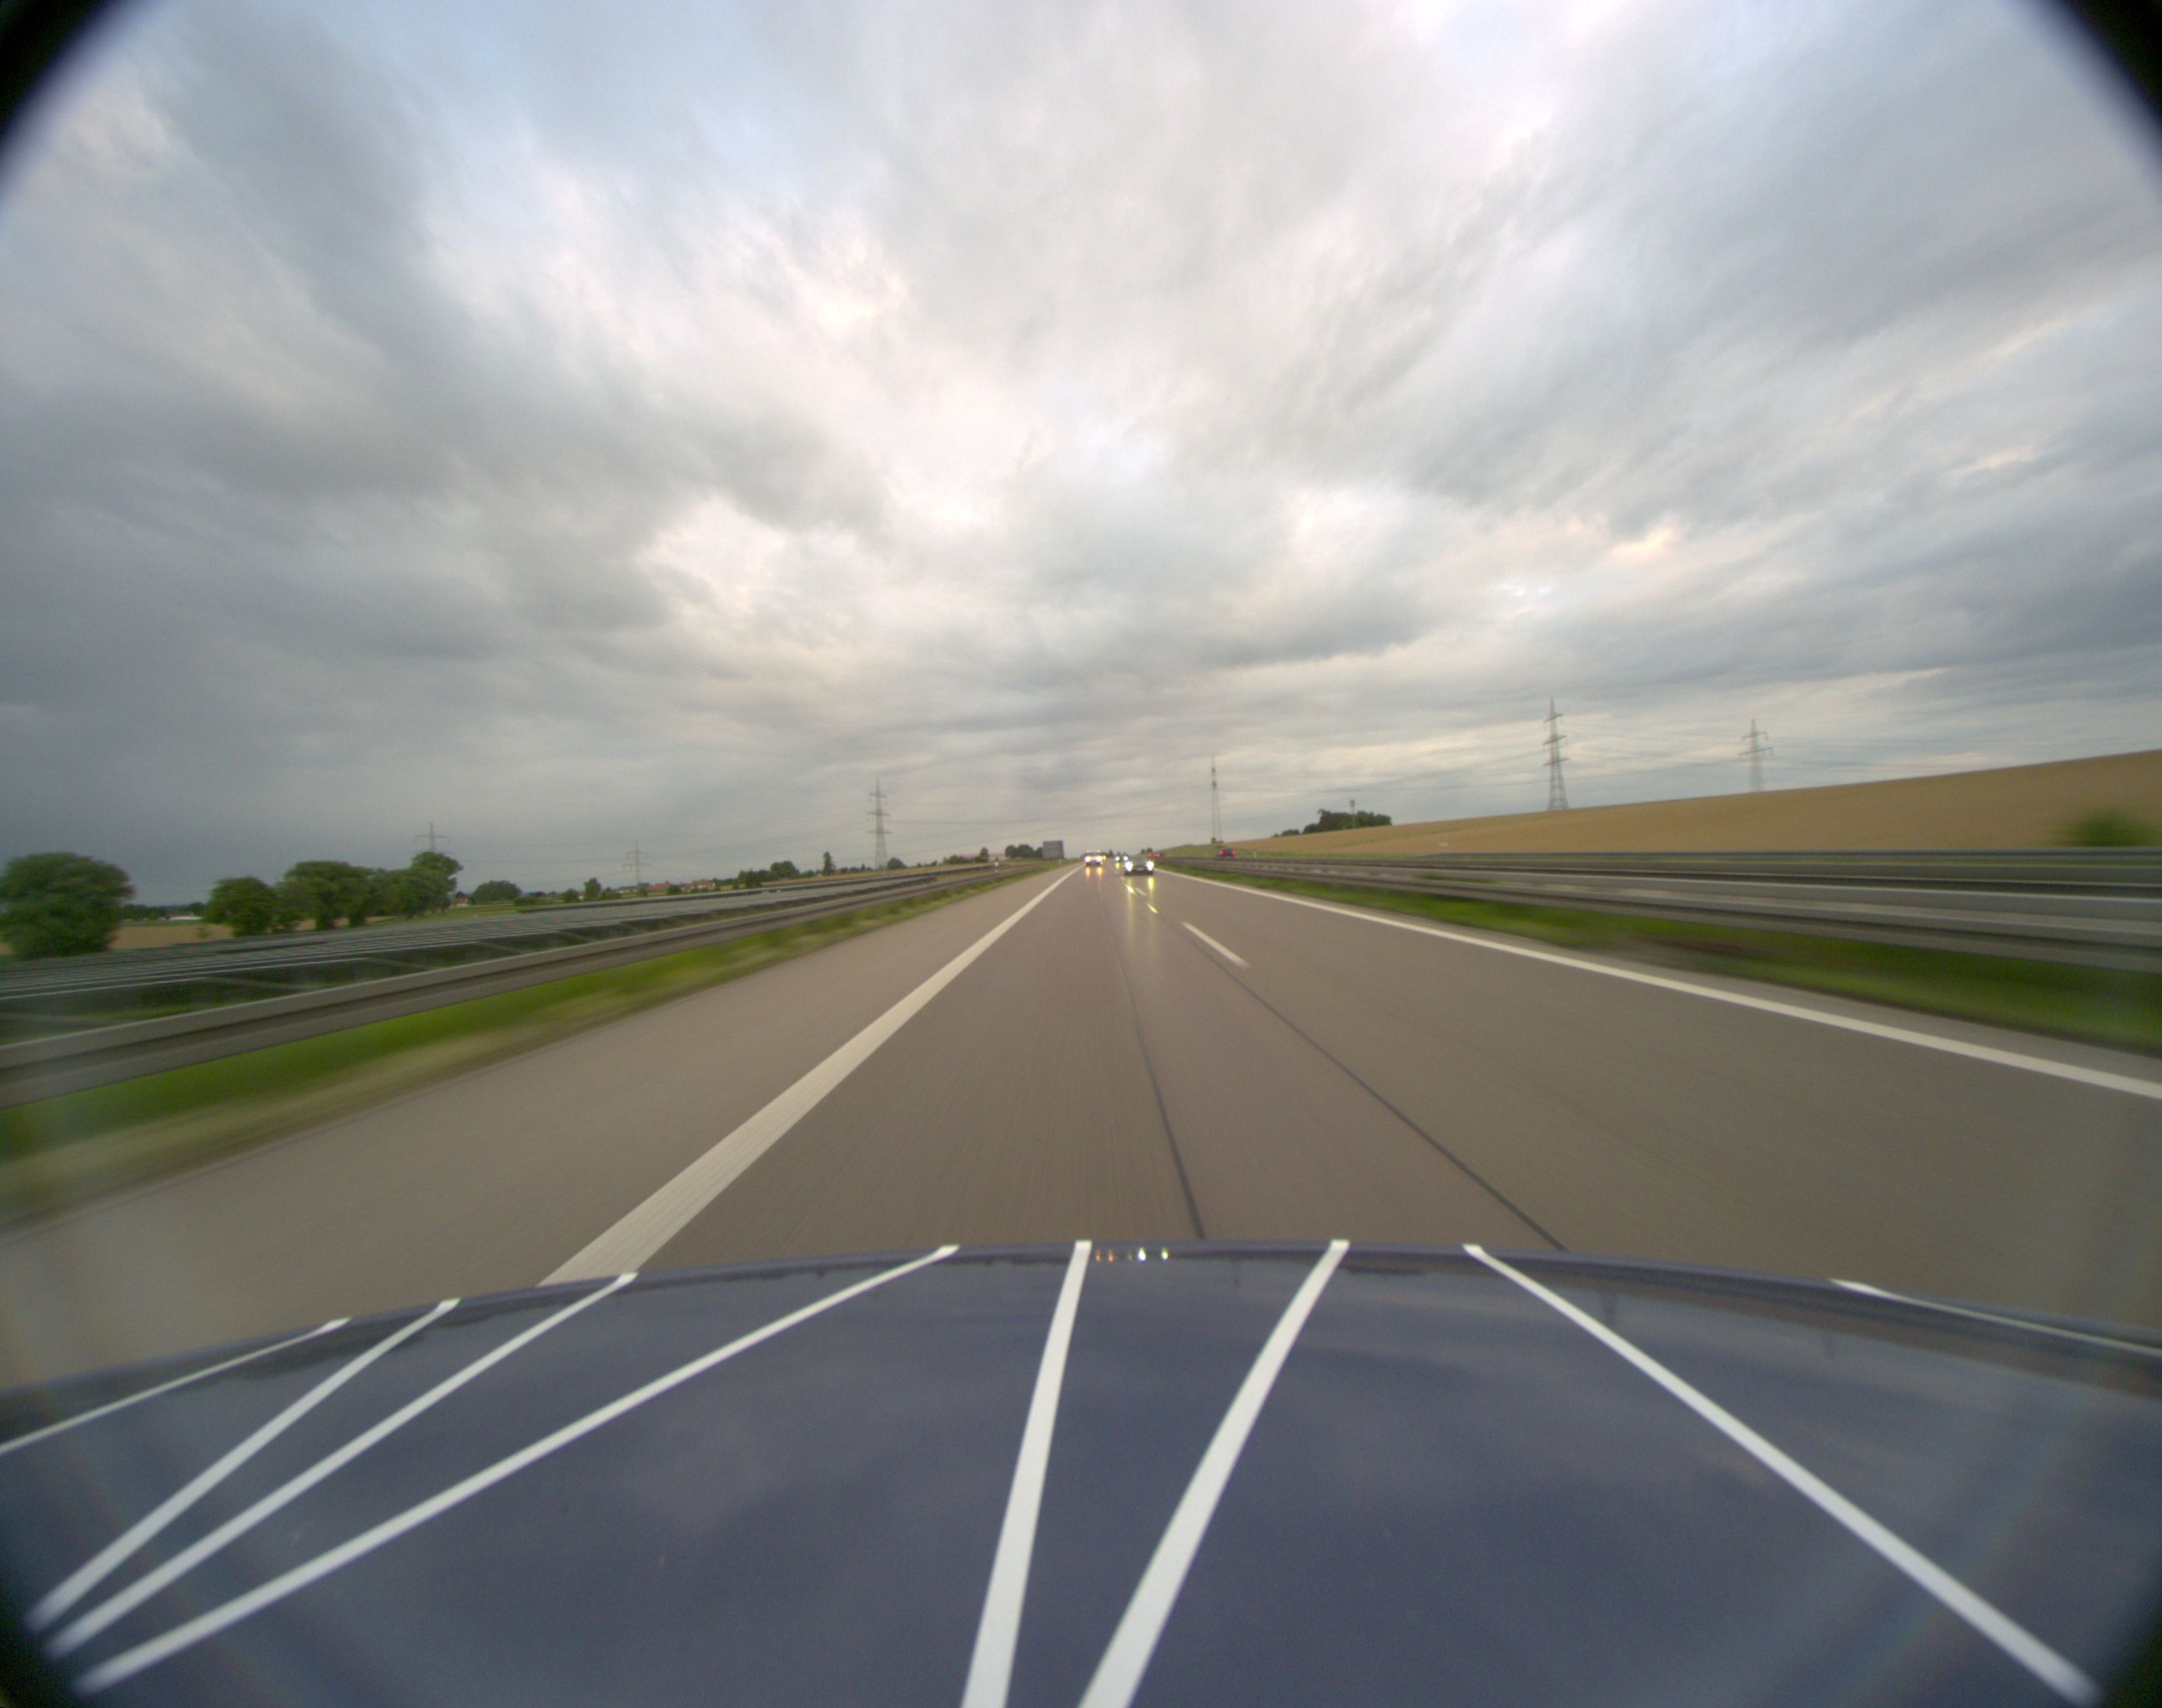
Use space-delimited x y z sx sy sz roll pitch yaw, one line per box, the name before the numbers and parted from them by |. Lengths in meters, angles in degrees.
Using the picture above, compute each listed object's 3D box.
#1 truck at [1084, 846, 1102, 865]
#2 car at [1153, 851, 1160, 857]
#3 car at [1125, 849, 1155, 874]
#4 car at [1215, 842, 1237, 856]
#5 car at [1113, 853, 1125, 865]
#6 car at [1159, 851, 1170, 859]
truck | 1.686 0.179 104.075 2.177 2.346 7.697 -5 0 2
car | 19.754 0.059 199.473 1.570 1.357 4.620 -5 0 2
car | 4.286 0.541 55.492 1.951 1.619 4.536 -3 0 2
car | 19.259 -0.637 101.176 1.891 1.683 5.769 -5 0 2
car | 7.093 0.959 142.348 1.998 2.002 4.461 -5 0 1
car | 16.970 0.224 154.484 1.831 1.578 4.117 -5 0 1
